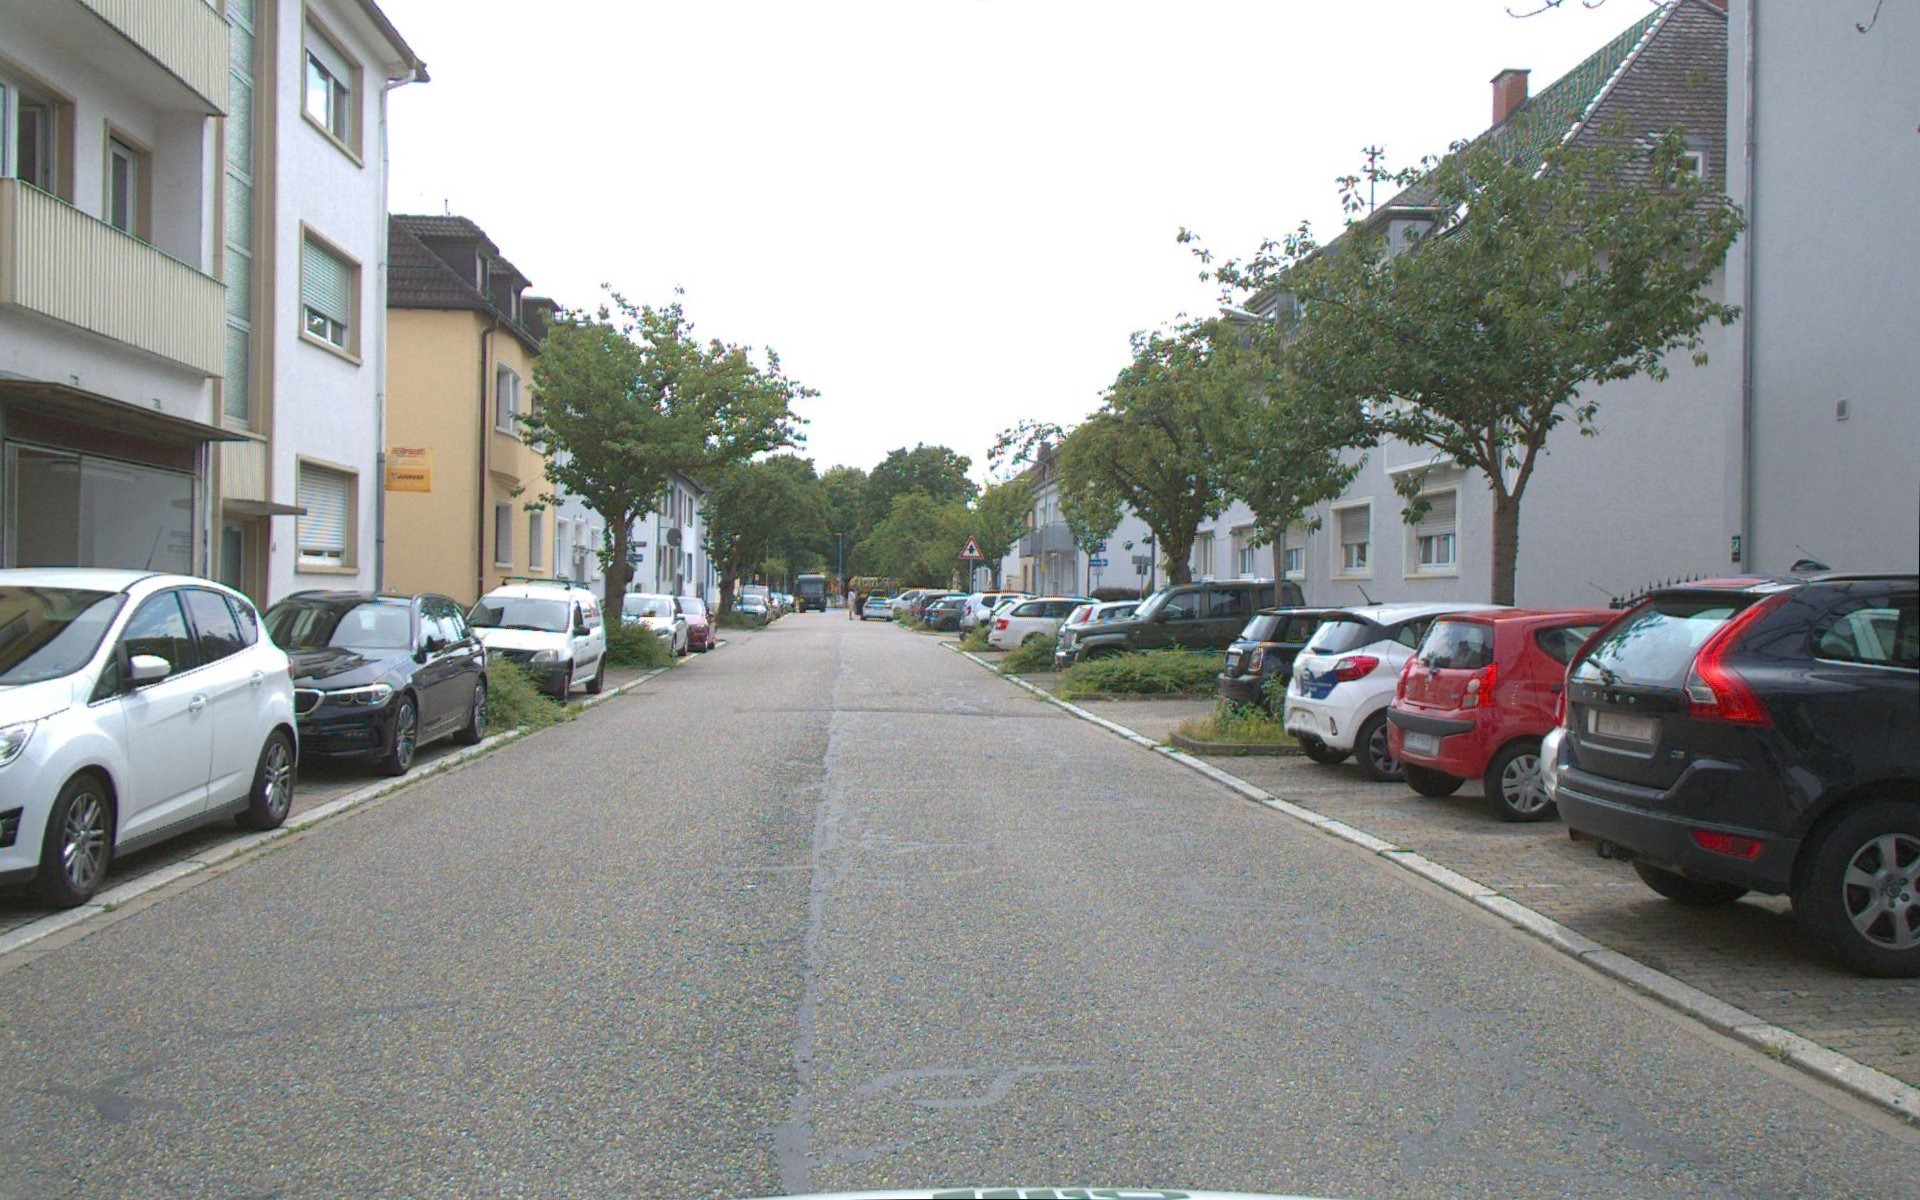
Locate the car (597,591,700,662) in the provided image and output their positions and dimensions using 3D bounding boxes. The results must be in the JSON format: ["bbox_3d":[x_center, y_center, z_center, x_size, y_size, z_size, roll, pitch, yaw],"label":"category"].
[{"bbox_3d":[-7.274,0.597,39.006,1.737,1.416,4.272,6,0,-3],"label":"car"}]

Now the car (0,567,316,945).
[{"bbox_3d":[-5.038,0.659,8.948,1.722,1.583,4.252,0,0,-4],"label":"car"}]

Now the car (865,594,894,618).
[{"bbox_3d":[-4.876,0.350,100.289,1.653,1.378,3.824,-2,0,-3],"label":"car"}]

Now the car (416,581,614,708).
[{"bbox_3d":[-6.250,0.578,23.728,1.880,1.609,4.379,-1,0,-4],"label":"car"}]

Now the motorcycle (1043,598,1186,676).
[{"bbox_3d":[3.033,0.720,32.603,2.650,1.490,1.029,0,0,-8],"label":"motorcycle"}]

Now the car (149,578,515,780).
[{"bbox_3d":[-5.460,0.632,15.101,1.755,1.518,4.808,1,-1,-4],"label":"car"}]

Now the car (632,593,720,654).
[{"bbox_3d":[-7.535,0.603,44.271,1.840,1.512,4.508,-2,0,-4],"label":"car"}]

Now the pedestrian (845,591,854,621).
[{"bbox_3d":[-6.636,0.359,99.409,0.511,1.734,0.444,-1,0,-1],"label":"pedestrian"}]

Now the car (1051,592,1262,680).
[{"bbox_3d":[3.642,0.651,30.953,3.557,1.480,1.770,-2,0,-9],"label":"car"}]

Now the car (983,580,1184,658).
[{"bbox_3d":[2.887,0.442,39.308,4.523,1.693,1.891,-2,0,-4],"label":"car"}]

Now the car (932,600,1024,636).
[{"bbox_3d":[0.729,0.745,68.783,3.673,1.389,1.772,-2,0,-4],"label":"car"}]

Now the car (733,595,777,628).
[{"bbox_3d":[-10.220,0.546,82.632,1.727,1.581,3.730,-1,0,-1],"label":"car"}]

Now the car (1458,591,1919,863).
[{"bbox_3d":[5.286,0.708,10.430,3.673,1.467,1.863,-2,0,-4],"label":"car"}]

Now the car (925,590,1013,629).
[{"bbox_3d":[0.383,0.405,71.661,3.673,1.592,1.772,-2,0,-4],"label":"car"}]

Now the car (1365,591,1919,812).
[{"bbox_3d":[5.292,0.700,12.582,3.911,1.435,1.765,-2,0,-7],"label":"car"}]

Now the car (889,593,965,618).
[{"bbox_3d":[-2.180,0.361,108.890,4.879,1.545,1.766,-2,0,-6],"label":"car"}]

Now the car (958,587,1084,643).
[{"bbox_3d":[1.925,0.472,53.140,3.846,1.661,1.866,-2,0,-4],"label":"car"}]

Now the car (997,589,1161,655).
[{"bbox_3d":[2.972,0.541,41.905,3.909,1.534,1.711,-2,0,-5],"label":"car"}]

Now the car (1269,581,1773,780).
[{"bbox_3d":[4.966,0.667,14.920,3.911,1.557,1.765,-2,0,-7],"label":"car"}]

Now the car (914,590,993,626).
[{"bbox_3d":[-0.320,0.377,79.109,3.673,1.592,1.772,-2,0,-4],"label":"car"}]

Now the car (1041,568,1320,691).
[{"bbox_3d":[3.672,0.477,28.062,4.434,1.890,1.792,-2,0,-2],"label":"car"}]

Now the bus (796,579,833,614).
[{"bbox_3d":[-12.240,-0.273,139.848,2.945,2.809,8.916,-1,0,-4],"label":"bus"}]

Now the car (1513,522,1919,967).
[{"bbox_3d":[4.976,0.536,7.696,4.130,1.766,1.903,-2,0,-2],"label":"car"}]

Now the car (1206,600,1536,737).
[{"bbox_3d":[4.912,0.788,20.057,3.474,1.478,1.807,-2,0,-5],"label":"car"}]
